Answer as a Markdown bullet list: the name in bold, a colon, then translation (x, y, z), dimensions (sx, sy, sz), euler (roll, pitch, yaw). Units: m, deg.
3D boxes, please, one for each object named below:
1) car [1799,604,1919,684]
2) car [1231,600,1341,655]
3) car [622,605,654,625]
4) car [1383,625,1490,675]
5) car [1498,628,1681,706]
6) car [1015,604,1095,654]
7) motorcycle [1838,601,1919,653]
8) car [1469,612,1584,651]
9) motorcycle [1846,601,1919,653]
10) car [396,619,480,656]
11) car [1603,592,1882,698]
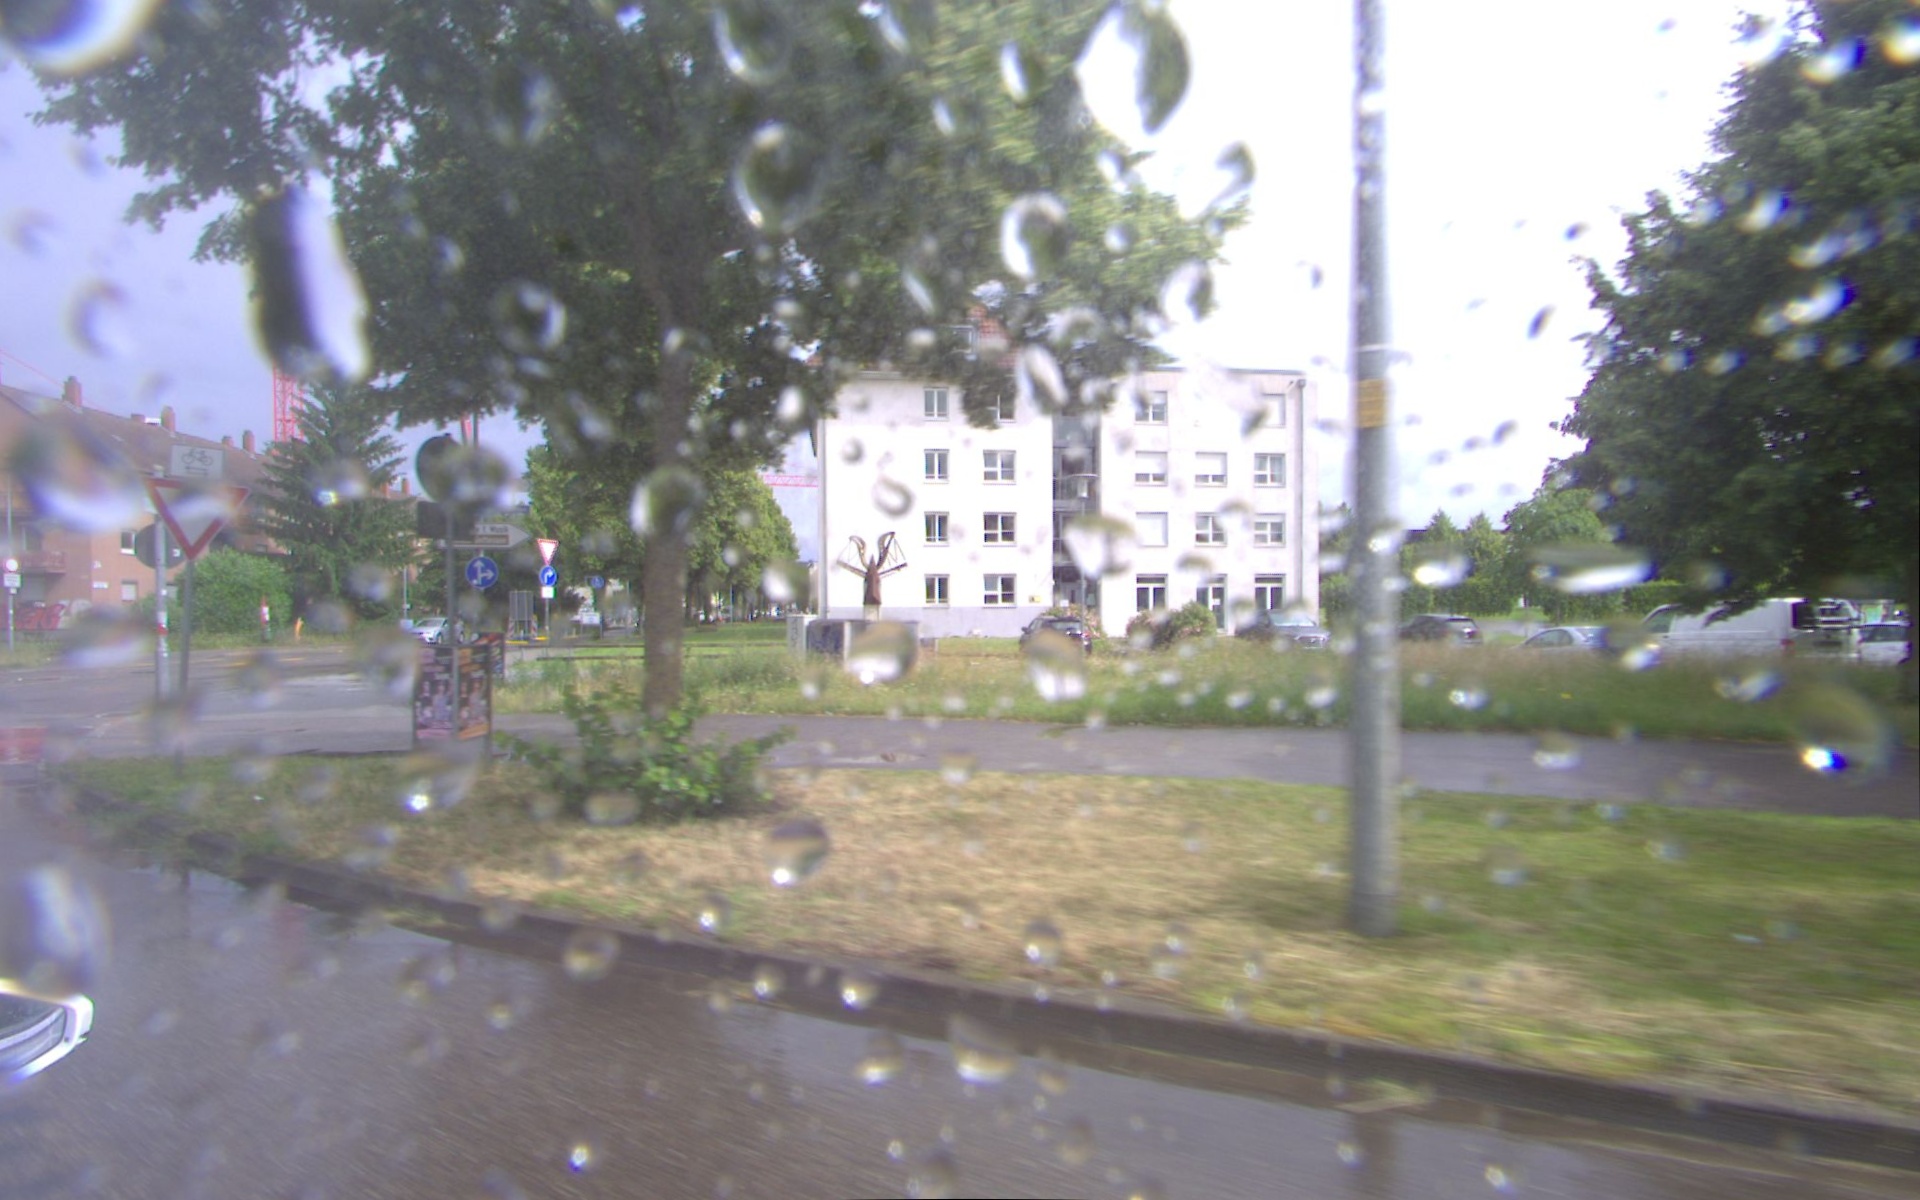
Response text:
- **car**: translation (21.079, 0.953, 22.419), dimensions (1.500, 1.685, 3.600), euler (0, -1, -2)
- **car**: translation (10.653, 0.850, 33.020), dimensions (1.817, 1.573, 4.101), euler (0, 2, -8)
- **car**: translation (-31.466, 1.456, 97.885), dimensions (2.042, 1.755, 4.696), euler (2, 0, -7)
- **car**: translation (15.945, 1.642, 33.688), dimensions (1.631, 1.364, 3.578), euler (0, 2, -5)
- **car**: translation (13.673, 1.403, 21.991), dimensions (1.577, 1.529, 3.621), euler (0, -1, -4)
- **car**: translation (2.981, 0.871, 32.196), dimensions (1.644, 1.502, 3.737), euler (0, 0, -10)
- **motorcycle**: translation (32.780, 0.935, 35.665), dimensions (0.647, 1.790, 2.348), euler (2, 0, -10)
- **car**: translation (19.159, 1.034, 34.038), dimensions (1.631, 1.252, 3.580), euler (0, -1, -6)
- **motorcycle**: translation (33.432, 0.959, 36.075), dimensions (0.647, 1.790, 2.348), euler (2, 0, -10)
- **car**: translation (-28.097, 1.998, 54.047), dimensions (2.041, 1.755, 4.698), euler (2, 0, 0)
- **car**: translation (17.297, 0.890, 22.585), dimensions (2.072, 2.085, 5.160), euler (-1, 0, -3)
